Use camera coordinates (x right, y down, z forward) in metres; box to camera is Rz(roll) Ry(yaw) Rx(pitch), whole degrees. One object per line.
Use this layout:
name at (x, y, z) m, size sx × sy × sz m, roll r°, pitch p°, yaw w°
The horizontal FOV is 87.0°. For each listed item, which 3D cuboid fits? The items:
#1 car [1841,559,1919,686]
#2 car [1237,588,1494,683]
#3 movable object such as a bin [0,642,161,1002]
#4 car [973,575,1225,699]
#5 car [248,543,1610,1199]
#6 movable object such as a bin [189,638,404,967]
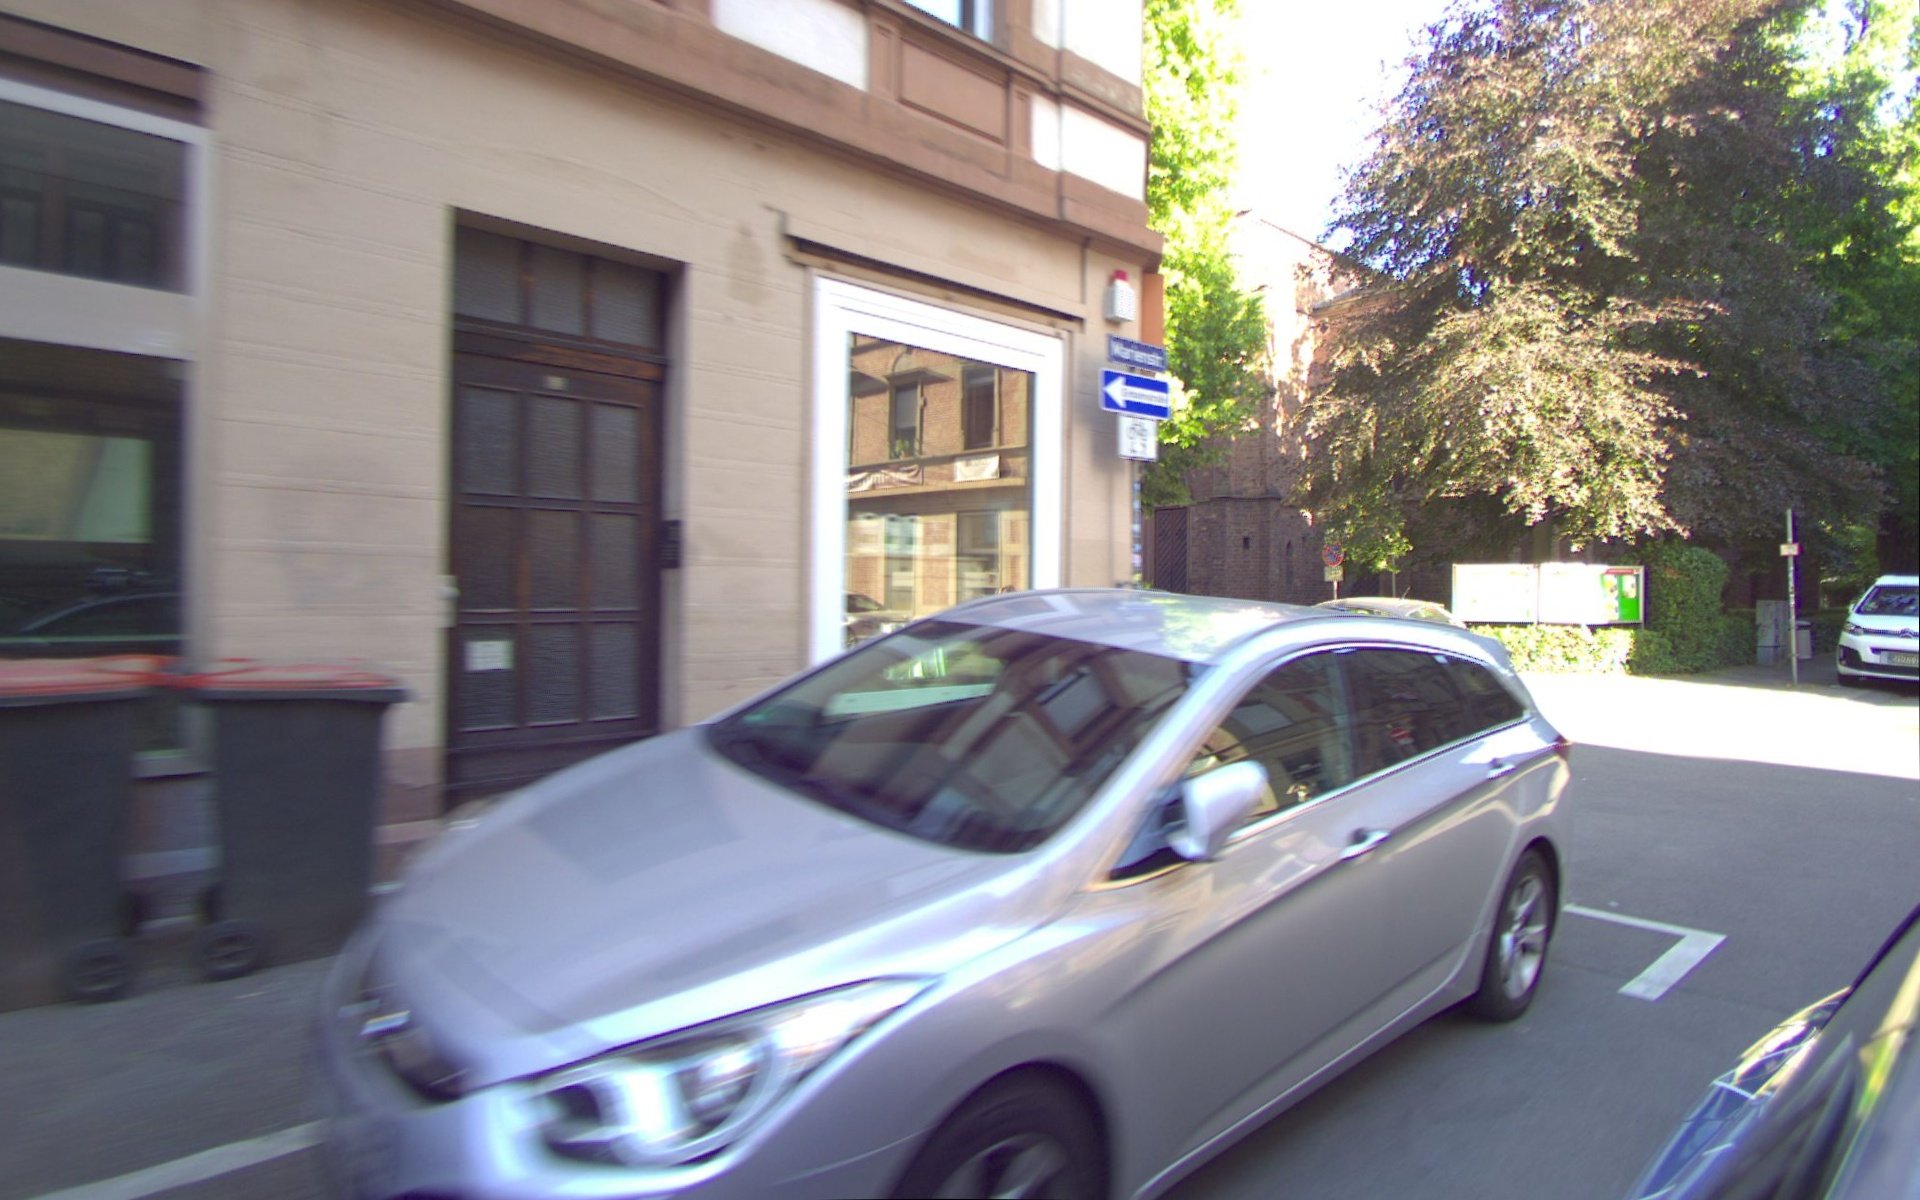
car at (17.332, 0.395, 17.761) m, size 4.704 × 2.023 × 1.920 m, roll 1°, pitch 2°, yaw -38°
car at (7.147, 0.544, 18.162) m, size 1.765 × 1.457 × 3.930 m, roll -2°, pitch 1°, yaw -37°
movable object such as a bin at (-3.017, 0.691, 3.335) m, size 0.583 × 1.052 × 0.515 m, roll 1°, pitch 2°, yaw -40°
car at (2.012, 0.454, 15.721) m, size 1.727 × 1.628 × 3.934 m, roll -2°, pitch 2°, yaw -33°
car at (0.416, 0.677, 3.283) m, size 4.283 × 1.525 × 1.747 m, roll 0°, pitch 3°, yaw -42°
movable object such as a bin at (-2.484, 0.696, 3.784) m, size 0.608 × 1.052 × 0.515 m, roll 1°, pitch 2°, yaw -40°
